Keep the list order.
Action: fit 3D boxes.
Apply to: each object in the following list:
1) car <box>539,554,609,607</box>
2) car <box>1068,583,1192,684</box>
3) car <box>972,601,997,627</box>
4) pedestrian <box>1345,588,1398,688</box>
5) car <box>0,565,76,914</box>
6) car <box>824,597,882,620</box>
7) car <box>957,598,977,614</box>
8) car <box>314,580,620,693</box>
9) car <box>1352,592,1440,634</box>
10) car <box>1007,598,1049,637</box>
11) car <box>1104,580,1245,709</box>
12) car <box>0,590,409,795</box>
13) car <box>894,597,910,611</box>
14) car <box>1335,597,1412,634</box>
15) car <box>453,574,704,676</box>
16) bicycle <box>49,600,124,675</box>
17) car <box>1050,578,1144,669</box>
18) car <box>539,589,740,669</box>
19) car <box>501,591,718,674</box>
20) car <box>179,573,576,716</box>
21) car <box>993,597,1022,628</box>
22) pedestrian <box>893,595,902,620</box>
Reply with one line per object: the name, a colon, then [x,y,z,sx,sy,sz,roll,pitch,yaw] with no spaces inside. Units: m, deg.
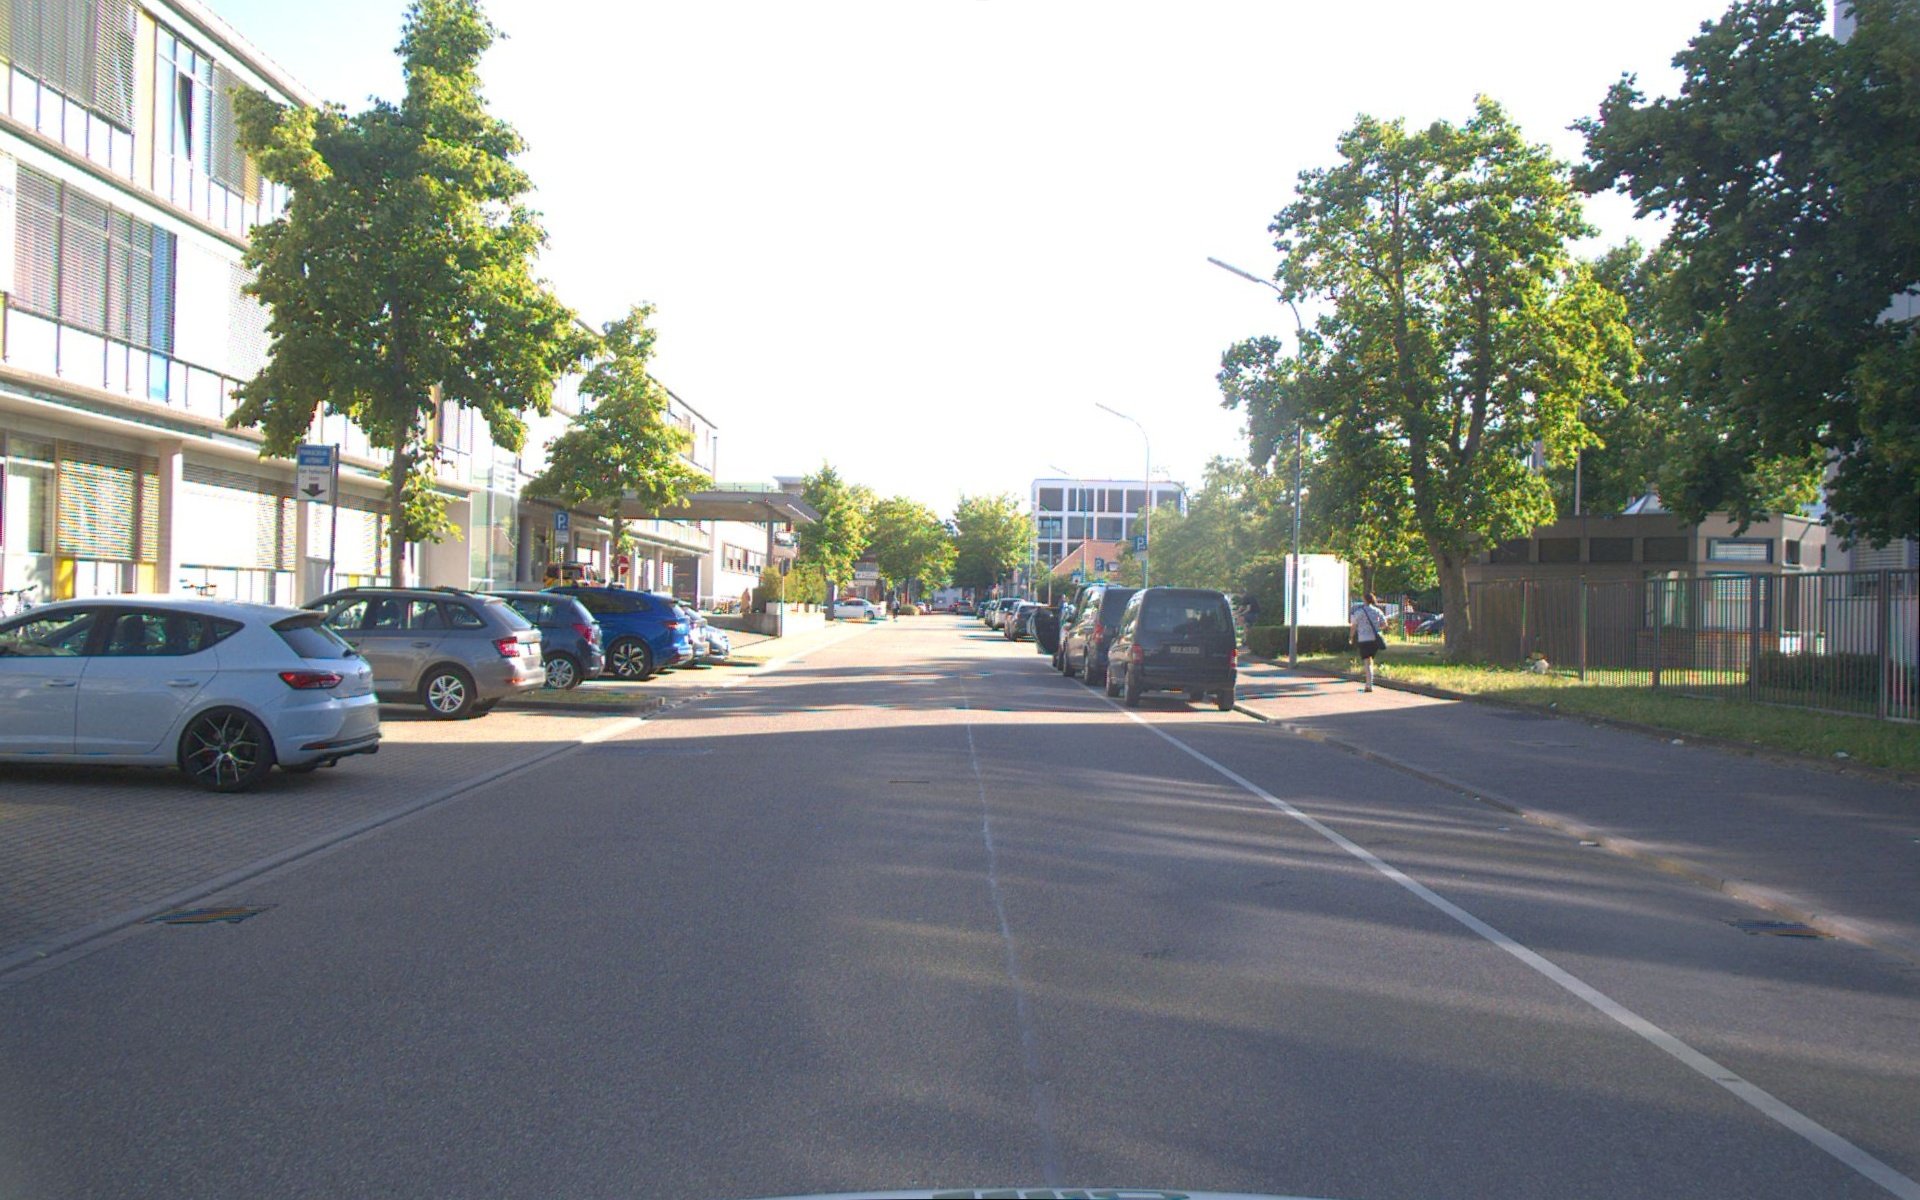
car: [-16.000,-0.784,68.692,1.953,2.049,3.999,1,-1,-1]
car: [3.261,0.615,32.501,1.953,1.855,4.198,0,0,-1]
car: [2.012,1.202,139.030,1.953,2.049,3.999,1,-1,-1]
pedestrian: [7.145,0.650,28.726,0.684,1.690,0.751,-2,0,-1]
car: [-6.543,0.573,7.236,4.163,1.640,2.046,2,0,-5]
car: [-7.331,0.578,113.650,3.905,1.545,2.000,0,0,-1]
car: [0.709,0.641,172.924,1.707,1.570,4.002,1,0,5]
car: [-7.486,0.541,25.447,4.131,1.512,1.870,2,0,-5]
car: [22.390,0.671,84.968,3.909,2.049,1.998,1,-1,-5]
car: [2.682,0.688,65.815,1.466,1.505,3.649,0,0,-1]
car: [3.325,0.652,26.260,1.697,1.862,3.905,1,0,0]
car: [-6.576,0.667,12.964,3.909,1.382,1.741,2,0,-5]
car: [-6.357,0.419,180.053,1.692,1.563,3.998,1,0,-2]
car: [23.686,0.906,94.797,3.907,2.049,1.999,1,-1,-3]
car: [-6.853,0.438,30.045,4.131,1.631,1.870,2,0,-5]
bicycle: [-12.527,0.521,23.749,0.758,1.035,1.368,0,0,-20]
car: [3.156,0.516,38.747,1.836,2.013,3.999,0,0,-1]
car: [-6.712,0.591,34.989,3.908,1.579,1.999,1,0,-3]
car: [-6.833,0.627,32.632,3.908,1.579,1.999,0,0,-3]
car: [-6.927,0.516,20.047,4.131,1.487,1.870,2,0,-5]
car: [2.489,0.630,87.369,1.407,1.588,3.041,1,0,-1]
pedestrian: [-4.267,0.516,112.954,0.606,1.652,0.716,0,0,-1]
